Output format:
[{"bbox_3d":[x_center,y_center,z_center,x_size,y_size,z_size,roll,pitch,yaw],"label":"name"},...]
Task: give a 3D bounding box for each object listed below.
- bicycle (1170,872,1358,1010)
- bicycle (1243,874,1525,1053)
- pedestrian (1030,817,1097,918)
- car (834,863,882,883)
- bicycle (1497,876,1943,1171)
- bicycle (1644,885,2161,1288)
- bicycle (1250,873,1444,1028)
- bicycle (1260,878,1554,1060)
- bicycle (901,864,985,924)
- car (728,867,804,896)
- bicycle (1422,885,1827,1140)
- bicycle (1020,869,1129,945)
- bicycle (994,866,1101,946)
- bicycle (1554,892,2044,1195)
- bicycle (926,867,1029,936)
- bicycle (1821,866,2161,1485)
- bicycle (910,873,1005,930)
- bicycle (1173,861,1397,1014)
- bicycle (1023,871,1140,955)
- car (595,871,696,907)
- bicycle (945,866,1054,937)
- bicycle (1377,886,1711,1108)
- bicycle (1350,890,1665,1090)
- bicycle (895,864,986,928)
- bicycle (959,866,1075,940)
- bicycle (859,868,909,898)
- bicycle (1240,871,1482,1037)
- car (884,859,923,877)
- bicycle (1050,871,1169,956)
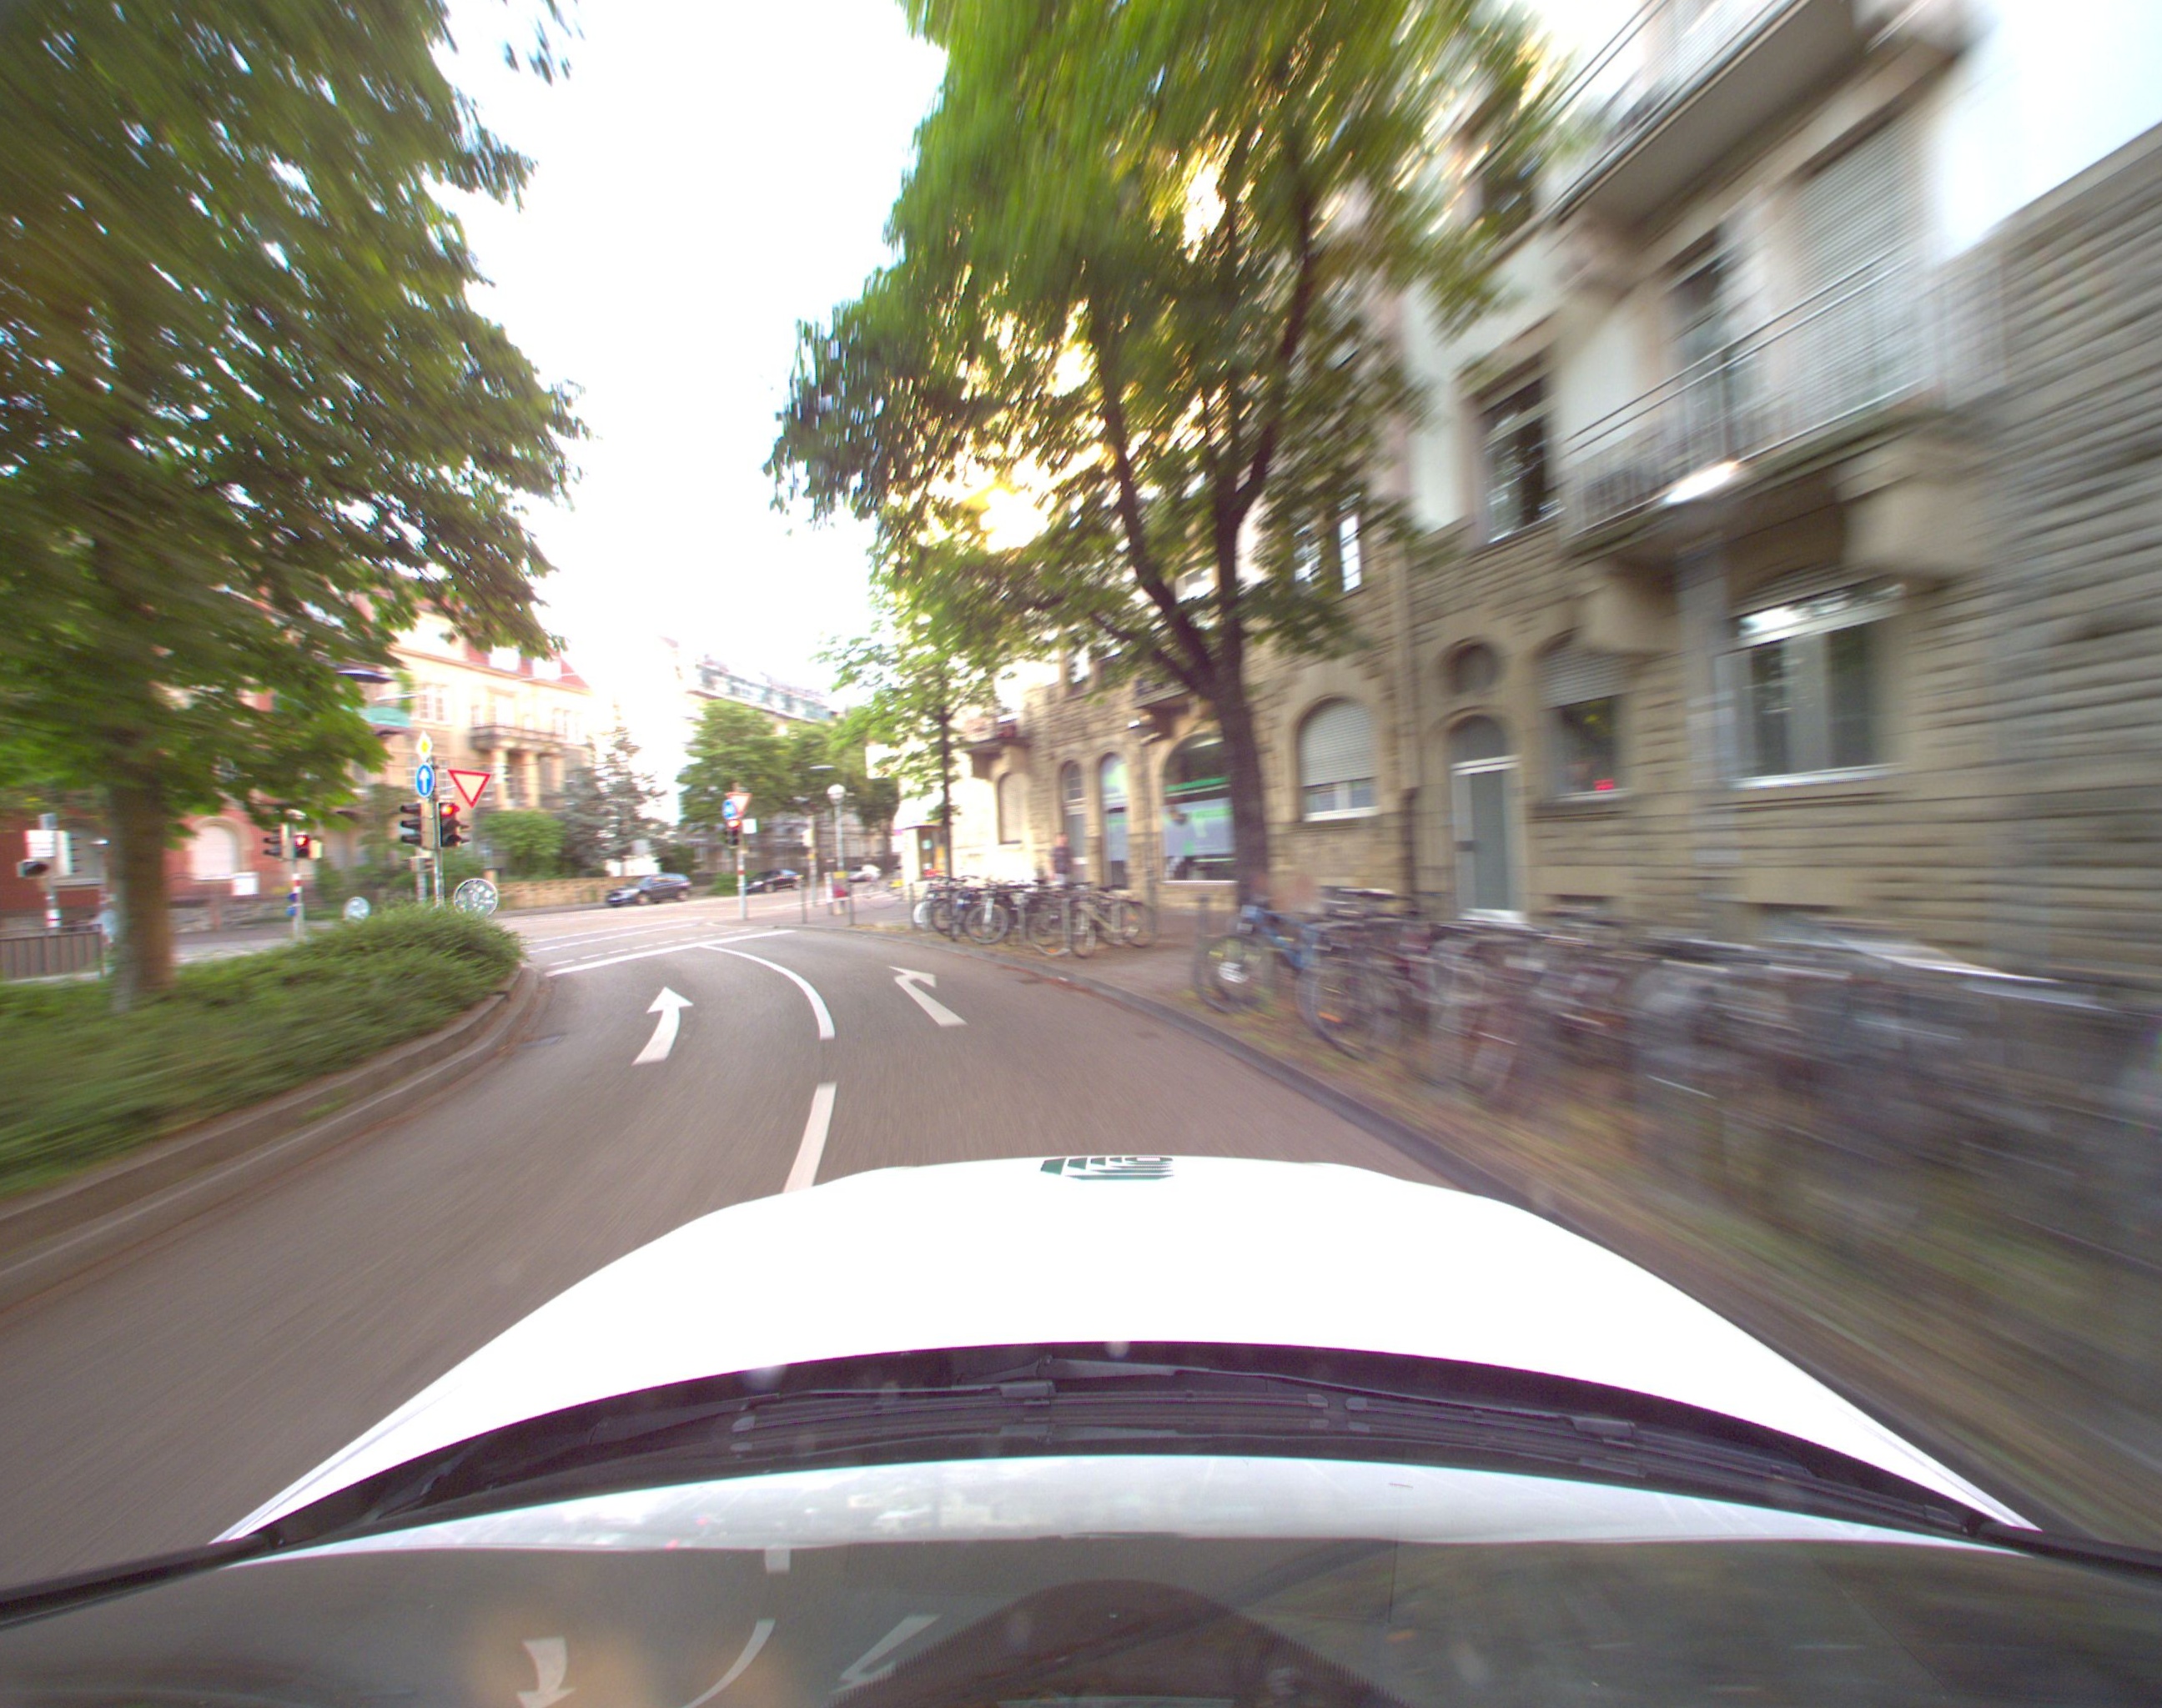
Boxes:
[{"bbox_3d":[1.800,0.797,7.936,1.888,1.139,0.488,-2,3,-26],"label":"bicycle"},{"bbox_3d":[2.265,0.811,6.169,1.851,1.130,0.417,-3,-19,-12],"label":"bicycle"},{"bbox_3d":[-0.391,0.273,17.850,1.016,2.085,1.051,-4,1,-26],"label":"pedestrian"},{"bbox_3d":[-18.990,1.585,69.576,1.991,1.426,4.647,-3,0,11],"label":"car"},{"bbox_3d":[2.917,0.718,3.742,1.848,1.116,0.418,-3,0,-8],"label":"bicycle"},{"bbox_3d":[3.066,0.710,2.882,1.915,1.065,0.550,-3,0,-11],"label":"bicycle"},{"bbox_3d":[2.367,0.776,7.137,1.863,1.104,0.567,-3,0,-35],"label":"bicycle"},{"bbox_3d":[2.330,0.811,5.902,1.851,1.092,0.417,-3,-19,-12],"label":"bicycle"},{"bbox_3d":[-3.187,0.917,18.945,1.803,1.236,0.643,-3,0,-41],"label":"bicycle"},{"bbox_3d":[-19.514,1.658,50.703,1.929,1.510,4.651,-3,0,15],"label":"car"},{"bbox_3d":[2.837,0.763,4.278,1.916,1.061,0.533,-3,0,-11],"label":"bicycle"},{"bbox_3d":[-0.096,0.842,13.274,1.677,1.078,0.482,-3,0,-23],"label":"bicycle"},{"bbox_3d":[-0.547,0.834,13.404,1.676,1.127,0.483,-3,6,-22],"label":"bicycle"},{"bbox_3d":[2.999,0.734,3.428,1.848,1.014,0.418,-3,0,-8],"label":"bicycle"},{"bbox_3d":[-1.994,0.895,15.852,1.901,1.162,0.633,-3,0,-39],"label":"bicycle"},{"bbox_3d":[3.038,0.651,2.137,1.915,1.200,0.550,-3,0,-11],"label":"bicycle"},{"bbox_3d":[-2.575,0.969,17.058,1.816,1.038,0.691,-3,0,-39],"label":"bicycle"},{"bbox_3d":[1.865,0.745,7.505,1.880,1.217,0.490,-3,-6,-12],"label":"bicycle"},{"bbox_3d":[0.022,0.852,12.182,1.680,1.078,0.481,-3,0,-30],"label":"bicycle"},{"bbox_3d":[-21.889,1.737,41.166,1.929,1.510,4.438,-3,0,15],"label":"car"},{"bbox_3d":[-1.516,0.868,15.282,1.897,1.162,0.634,-3,0,-29],"label":"bicycle"},{"bbox_3d":[2.695,0.776,4.742,1.851,1.051,0.417,-3,0,-12],"label":"bicycle"},{"bbox_3d":[2.632,0.789,5.025,1.851,0.999,0.417,-3,0,-12],"label":"bicycle"},{"bbox_3d":[-3.046,0.895,17.778,1.802,1.236,0.691,-3,0,-39],"label":"bicycle"},{"bbox_3d":[-1.138,0.851,14.630,1.897,1.162,0.698,-3,0,-29],"label":"bicycle"},{"bbox_3d":[-8.222,1.196,33.937,1.881,1.130,0.725,-3,0,-25],"label":"bicycle"},{"bbox_3d":[2.263,0.767,6.580,1.851,1.144,0.417,-3,0,-12],"label":"bicycle"},{"bbox_3d":[-17.256,1.331,79.546,1.929,1.482,4.185,-3,0,15],"label":"car"},{"bbox_3d":[0.431,0.834,11.828,1.680,1.078,0.481,-3,0,-30],"label":"bicycle"}]
